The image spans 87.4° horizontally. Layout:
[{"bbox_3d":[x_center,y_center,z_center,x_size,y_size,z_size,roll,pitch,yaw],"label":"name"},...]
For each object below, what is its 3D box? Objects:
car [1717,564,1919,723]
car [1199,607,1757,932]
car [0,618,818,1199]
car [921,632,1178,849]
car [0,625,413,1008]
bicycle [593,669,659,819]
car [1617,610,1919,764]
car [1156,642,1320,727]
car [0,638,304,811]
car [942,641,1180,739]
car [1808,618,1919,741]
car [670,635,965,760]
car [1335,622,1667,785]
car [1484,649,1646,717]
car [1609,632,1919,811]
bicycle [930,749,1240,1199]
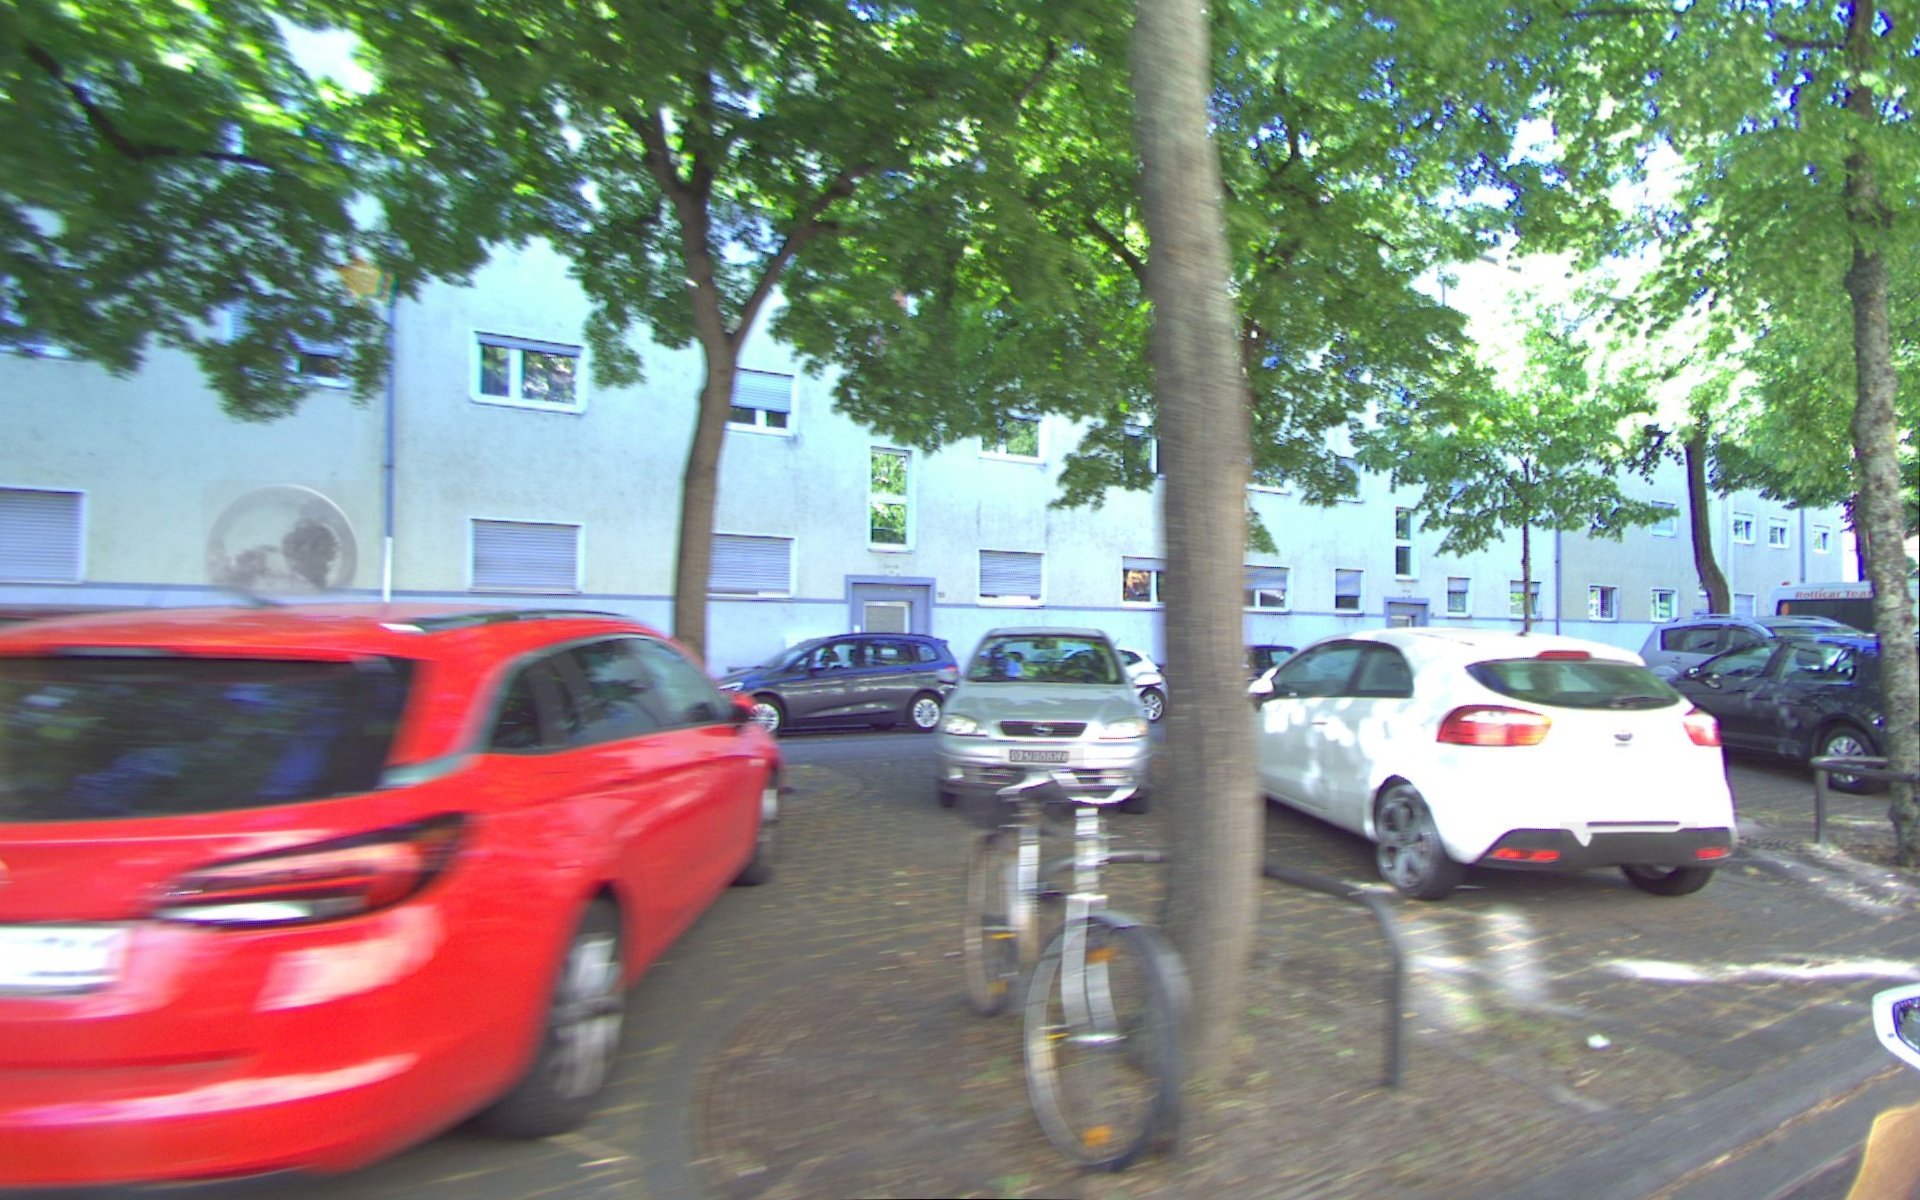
[{"bbox_3d":[17.109,0.796,17.465,2.413,2.655,6.073,2,-6,-14],"label":"car"},{"bbox_3d":[3.077,0.878,6.917,1.739,1.617,3.692,1,-1,-4],"label":"car"},{"bbox_3d":[-1.810,0.846,4.134,1.726,1.506,4.629,1,-1,1],"label":"car"},{"bbox_3d":[0.759,1.030,8.939,1.761,1.454,4.002,0,-2,4],"label":"car"},{"bbox_3d":[-4.668,0.867,4.843,1.835,1.492,4.116,0,-2,-1],"label":"car"},{"bbox_3d":[-2.885,1.165,8.609,0.383,1.102,1.748,1,-2,-23],"label":"bicycle"},{"bbox_3d":[11.559,1.107,13.978,1.862,1.800,4.394,1,-2,-2],"label":"car"},{"bbox_3d":[5.707,1.689,20.601,3.148,1.579,1.467,1,-4,-32],"label":"car"},{"bbox_3d":[-9.848,1.336,11.565,3.798,1.776,1.691,1,-2,-34],"label":"car"},{"bbox_3d":[1.911,1.592,18.644,4.114,1.585,1.883,1,-3,-32],"label":"car"},{"bbox_3d":[13.977,1.104,13.410,1.623,1.663,4.275,1,0,-1],"label":"car"},{"bbox_3d":[-2.243,1.474,16.087,4.326,1.741,1.838,1,-4,-30],"label":"car"},{"bbox_3d":[6.011,1.097,11.769,1.809,1.576,3.918,-1,-2,1],"label":"car"},{"bbox_3d":[16.152,2.145,26.776,4.537,1.537,1.763,1,0,-30],"label":"car"},{"bbox_3d":[8.959,1.102,10.482,1.698,1.501,4.110,1,-2,0],"label":"car"},{"bbox_3d":[0.294,1.114,3.388,0.418,1.007,1.812,1,-2,-14],"label":"bicycle"}]
